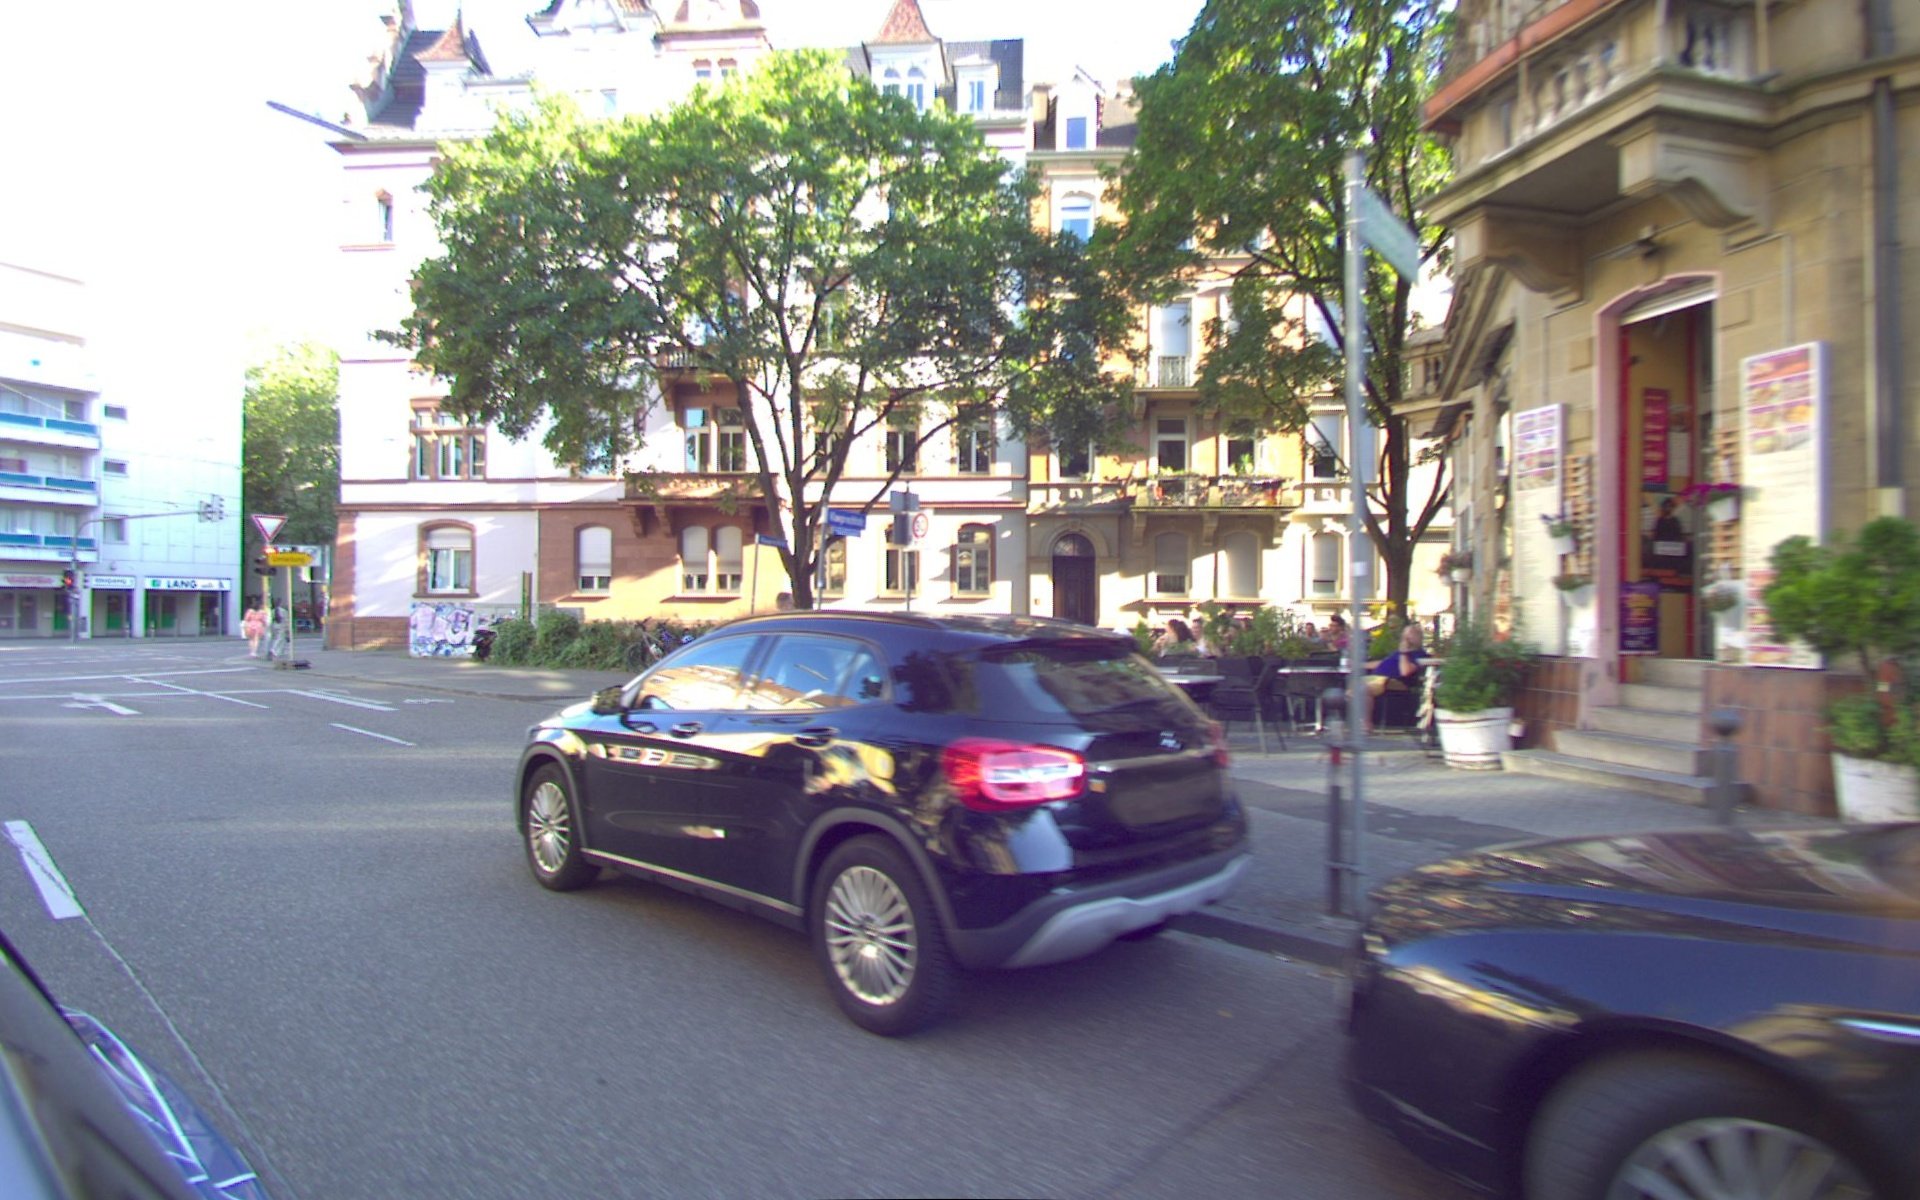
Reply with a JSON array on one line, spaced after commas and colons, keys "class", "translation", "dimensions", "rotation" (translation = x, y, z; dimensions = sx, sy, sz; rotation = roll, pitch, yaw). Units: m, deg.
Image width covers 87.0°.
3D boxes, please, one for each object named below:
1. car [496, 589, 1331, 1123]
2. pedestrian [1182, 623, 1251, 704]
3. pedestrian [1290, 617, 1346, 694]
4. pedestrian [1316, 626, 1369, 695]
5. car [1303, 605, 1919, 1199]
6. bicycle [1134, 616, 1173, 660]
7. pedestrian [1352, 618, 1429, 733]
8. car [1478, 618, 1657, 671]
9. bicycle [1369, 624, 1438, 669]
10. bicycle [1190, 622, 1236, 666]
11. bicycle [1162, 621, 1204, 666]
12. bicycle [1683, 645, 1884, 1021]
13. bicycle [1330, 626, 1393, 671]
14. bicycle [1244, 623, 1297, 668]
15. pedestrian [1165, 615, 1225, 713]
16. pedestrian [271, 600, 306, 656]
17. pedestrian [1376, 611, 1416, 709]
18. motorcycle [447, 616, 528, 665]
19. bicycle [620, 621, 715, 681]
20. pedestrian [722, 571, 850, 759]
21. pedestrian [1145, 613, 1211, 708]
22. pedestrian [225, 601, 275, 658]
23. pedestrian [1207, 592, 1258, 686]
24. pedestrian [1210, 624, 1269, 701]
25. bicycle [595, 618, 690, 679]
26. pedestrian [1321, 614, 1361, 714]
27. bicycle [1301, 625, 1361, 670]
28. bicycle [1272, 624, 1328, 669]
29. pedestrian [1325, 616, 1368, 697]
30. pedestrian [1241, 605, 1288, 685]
[{"class": "car", "translation": [-0.563, 0.766, 4.948], "dimensions": [4.141, 1.499, 1.738], "rotation": [-1, -2, 45]}, {"class": "pedestrian", "translation": [4.148, 1.002, 16.347], "dimensions": [0.748, 1.258, 1.012], "rotation": [-2, -2, 36]}, {"class": "pedestrian", "translation": [6.887, 1.057, 19.484], "dimensions": [0.657, 1.453, 0.768], "rotation": [2, -3, -38]}, {"class": "pedestrian", "translation": [6.993, 1.092, 18.503], "dimensions": [0.657, 1.225, 0.678], "rotation": [3, -3, -40]}, {"class": "car", "translation": [3.040, 0.752, 1.449], "dimensions": [1.738, 1.463, 4.553], "rotation": [2, -2, -45]}, {"class": "bicycle", "translation": [5.507, 1.049, 28.996], "dimensions": [0.742, 1.189, 3.133], "rotation": [0, -1, 4]}, {"class": "pedestrian", "translation": [4.808, 0.819, 11.350], "dimensions": [0.751, 1.223, 0.723], "rotation": [0, -1, 20]}, {"class": "car", "translation": [16.601, 1.187, 27.806], "dimensions": [3.705, 1.386, 1.926], "rotation": [0, -1, 5]}, {"class": "bicycle", "translation": [12.346, 1.265, 28.271], "dimensions": [0.742, 1.189, 3.133], "rotation": [0, -1, 4]}, {"class": "bicycle", "translation": [7.173, 1.221, 28.836], "dimensions": [0.742, 1.189, 3.133], "rotation": [0, -1, 4]}, {"class": "bicycle", "translation": [6.340, 1.207, 28.934], "dimensions": [0.742, 1.189, 3.133], "rotation": [0, -1, 4]}, {"class": "bicycle", "translation": [3.426, 0.798, 4.173], "dimensions": [0.528, 1.137, 1.847], "rotation": [-1, 0, 41]}, {"class": "bicycle", "translation": [11.225, 1.324, 28.424], "dimensions": [0.742, 1.189, 3.133], "rotation": [0, -1, 4]}, {"class": "bicycle", "translation": [8.768, 1.260, 28.683], "dimensions": [0.742, 1.189, 3.133], "rotation": [0, -1, 4]}, {"class": "pedestrian", "translation": [3.549, 0.946, 15.248], "dimensions": [0.724, 1.422, 0.750], "rotation": [-1, -1, 28]}, {"class": "pedestrian", "translation": [-20.853, 0.864, 31.431], "dimensions": [0.855, 1.710, 0.986], "rotation": [1, -1, -36]}, {"class": "pedestrian", "translation": [6.529, 0.885, 15.143], "dimensions": [0.480, 1.442, 0.564], "rotation": [-1, -2, 28]}, {"class": "motorcycle", "translation": [-12.759, 1.080, 27.395], "dimensions": [0.835, 1.275, 2.101], "rotation": [0, -1, 14]}, {"class": "bicycle", "translation": [-6.301, 1.057, 21.682], "dimensions": [2.959, 1.205, 0.540], "rotation": [-1, -1, 44]}, {"class": "pedestrian", "translation": [-1.872, 0.669, 10.978], "dimensions": [0.840, 1.913, 1.106], "rotation": [-1, -1, 32]}, {"class": "pedestrian", "translation": [3.122, 0.839, 14.443], "dimensions": [0.740, 1.299, 0.738], "rotation": [-1, -1, 30]}, {"class": "pedestrian", "translation": [-21.691, 0.887, 30.924], "dimensions": [0.856, 1.710, 0.985], "rotation": [0, -1, -6]}, {"class": "pedestrian", "translation": [5.296, 0.754, 19.694], "dimensions": [0.563, 1.784, 0.768], "rotation": [2, -3, -38]}, {"class": "pedestrian", "translation": [4.739, 1.046, 17.168], "dimensions": [0.748, 1.258, 0.698], "rotation": [-2, -2, 37]}, {"class": "bicycle", "translation": [-6.699, 0.980, 21.252], "dimensions": [2.959, 1.205, 0.540], "rotation": [-1, -1, 44]}, {"class": "pedestrian", "translation": [5.355, 0.885, 14.214], "dimensions": [0.432, 1.377, 0.477], "rotation": [-2, -2, 31]}, {"class": "bicycle", "translation": [10.393, 1.302, 28.493], "dimensions": [0.742, 1.189, 3.133], "rotation": [0, -1, 4]}, {"class": "bicycle", "translation": [9.567, 1.281, 28.623], "dimensions": [0.742, 1.189, 3.133], "rotation": [0, -1, 4]}, {"class": "pedestrian", "translation": [6.198, 0.898, 16.234], "dimensions": [0.509, 1.258, 0.476], "rotation": [-2, -2, 37]}, {"class": "pedestrian", "translation": [6.497, 0.957, 21.584], "dimensions": [0.766, 1.682, 0.659], "rotation": [-1, -3, 38]}]
